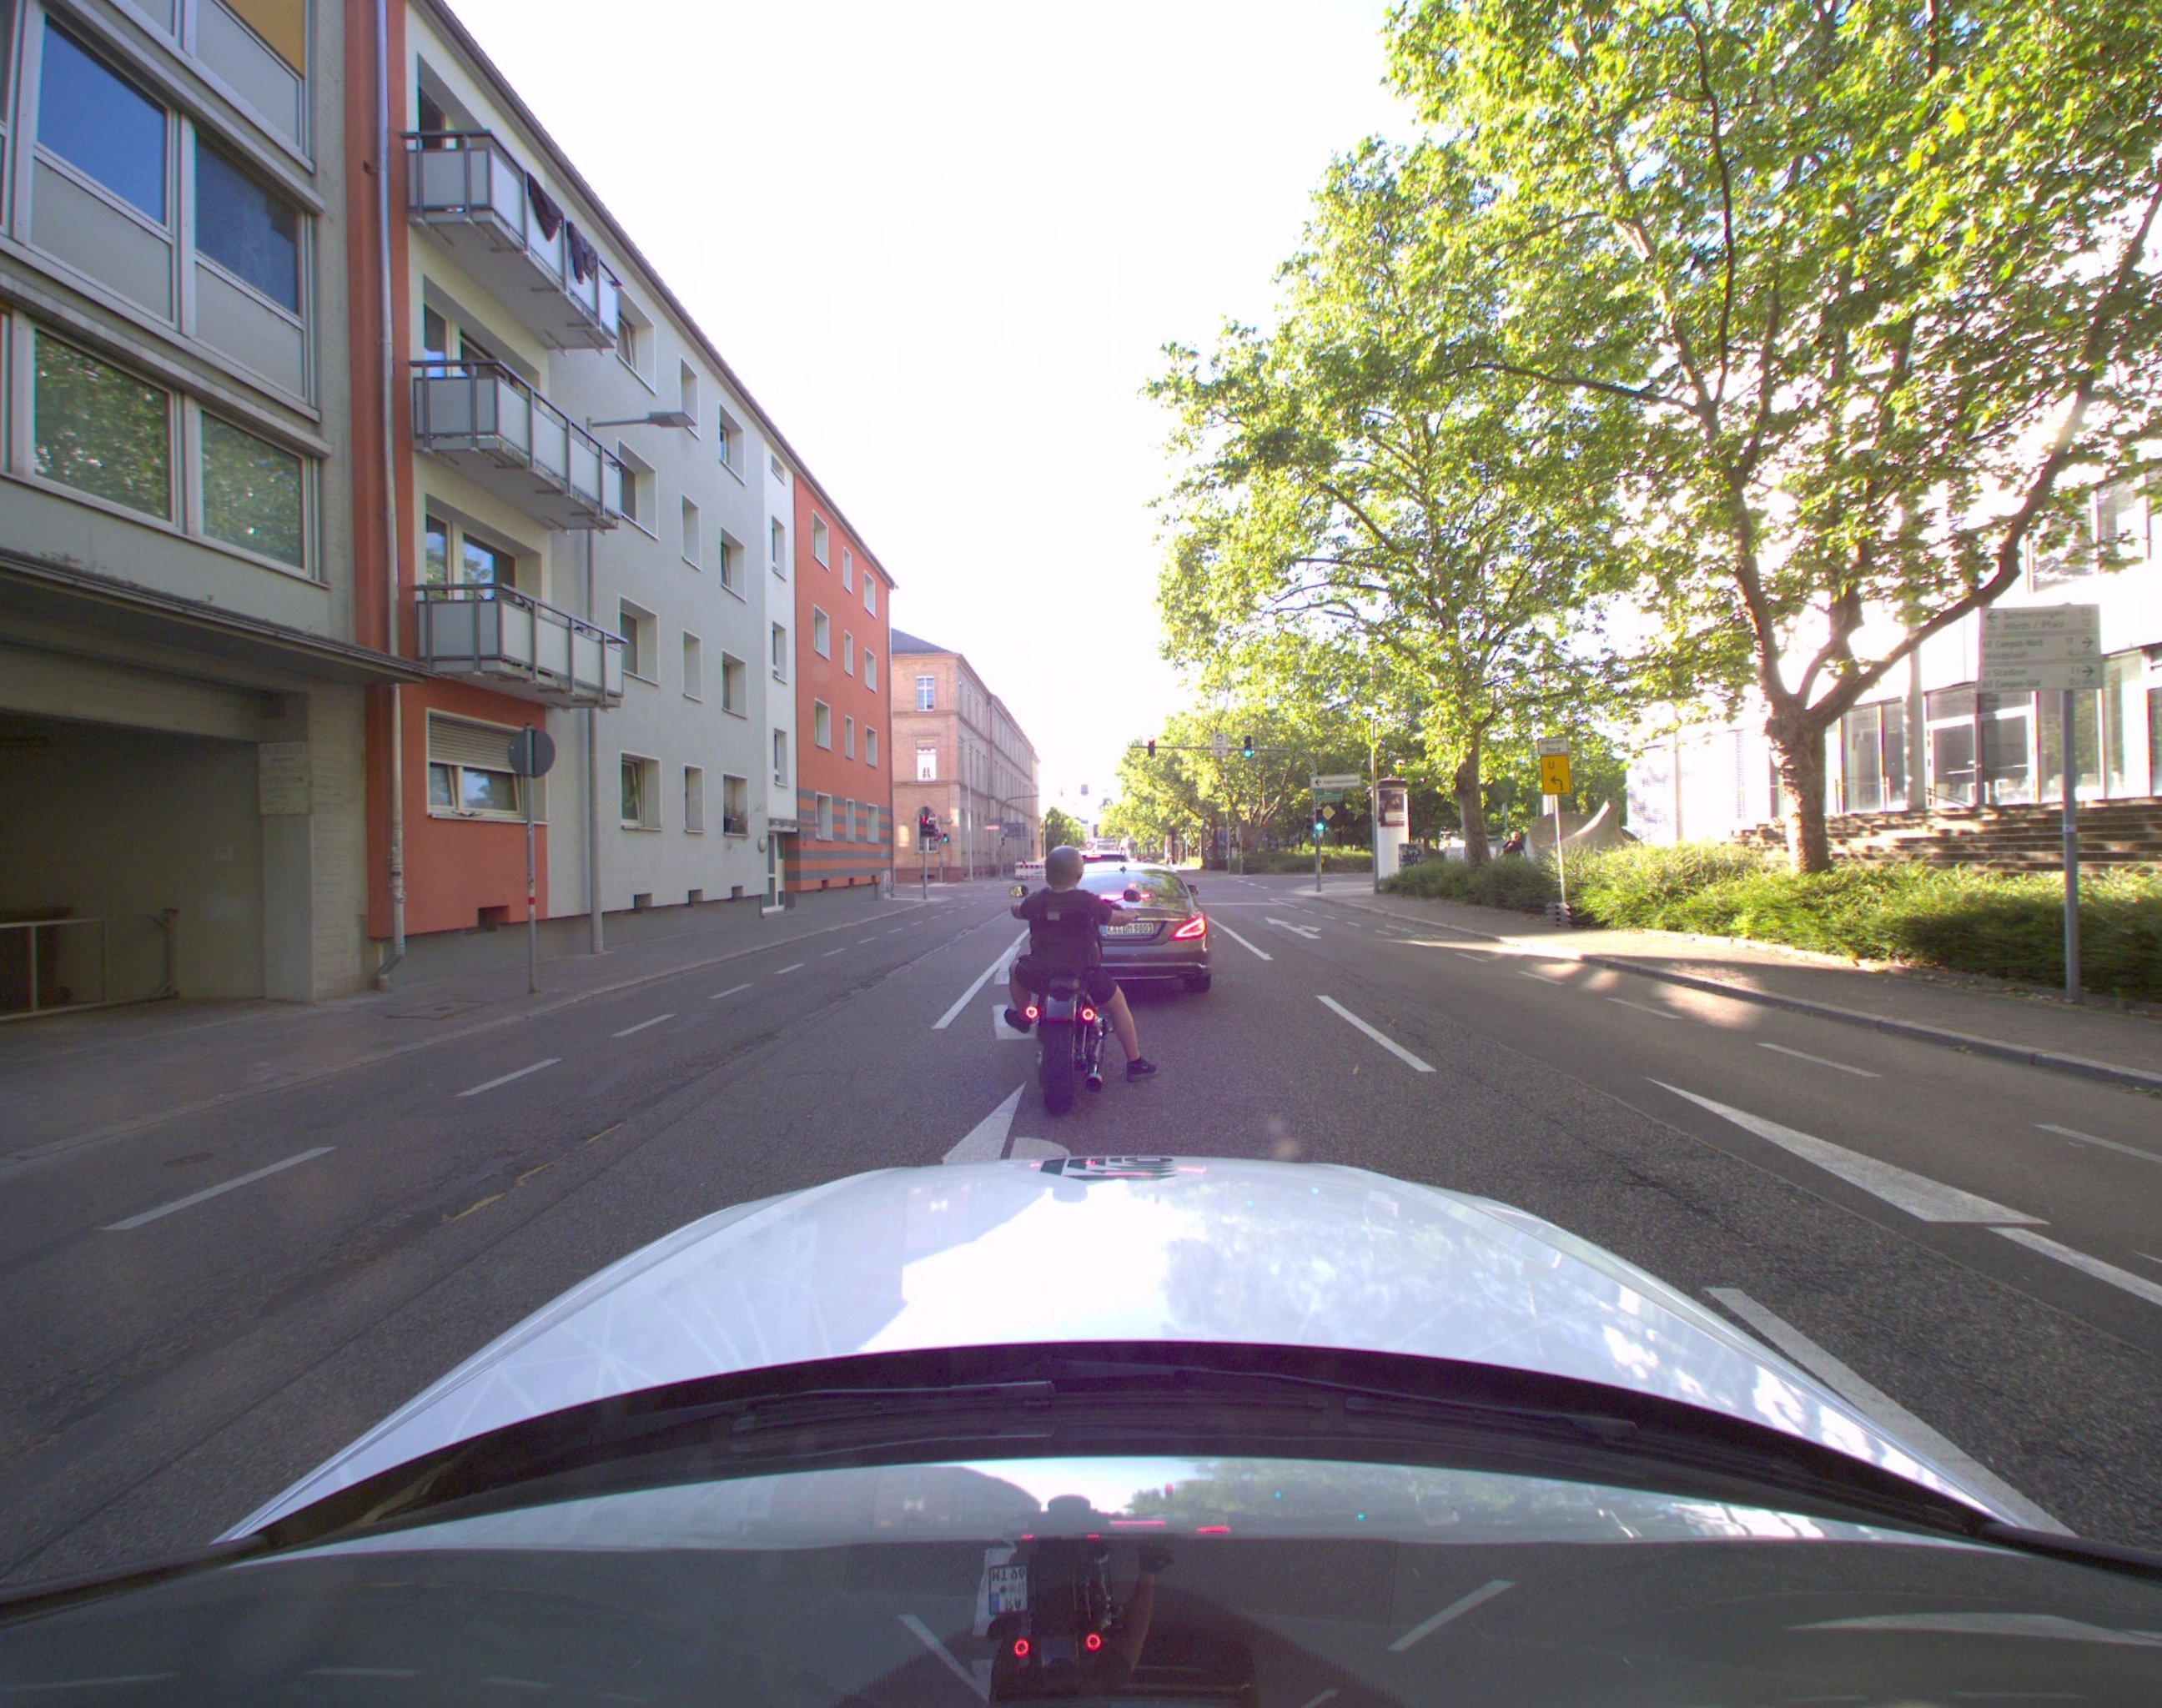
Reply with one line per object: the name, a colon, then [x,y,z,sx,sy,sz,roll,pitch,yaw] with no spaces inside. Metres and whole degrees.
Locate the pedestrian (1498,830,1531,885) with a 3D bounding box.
pedestrian: [14.172,0.106,26.635,0.731,1.778,0.731,-1,-1,10]

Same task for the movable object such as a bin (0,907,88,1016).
movable object such as a bin: [-11.281,1.121,8.658,0.533,1.079,0.723,0,-1,3]

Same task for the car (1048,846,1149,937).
car: [0.384,0.713,17.079,1.856,1.678,4.001,0,-1,2]

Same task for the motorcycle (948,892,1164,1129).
motorcycle: [-0.038,0.913,5.634,1.111,1.207,2.217,-1,-1,8]

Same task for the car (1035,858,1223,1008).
car: [0.524,0.781,9.791,1.815,1.437,3.807,0,-1,2]

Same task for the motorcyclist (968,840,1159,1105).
motorcyclist: [-0.066,0.706,5.415,1.093,1.566,1.074,-1,-1,8]
